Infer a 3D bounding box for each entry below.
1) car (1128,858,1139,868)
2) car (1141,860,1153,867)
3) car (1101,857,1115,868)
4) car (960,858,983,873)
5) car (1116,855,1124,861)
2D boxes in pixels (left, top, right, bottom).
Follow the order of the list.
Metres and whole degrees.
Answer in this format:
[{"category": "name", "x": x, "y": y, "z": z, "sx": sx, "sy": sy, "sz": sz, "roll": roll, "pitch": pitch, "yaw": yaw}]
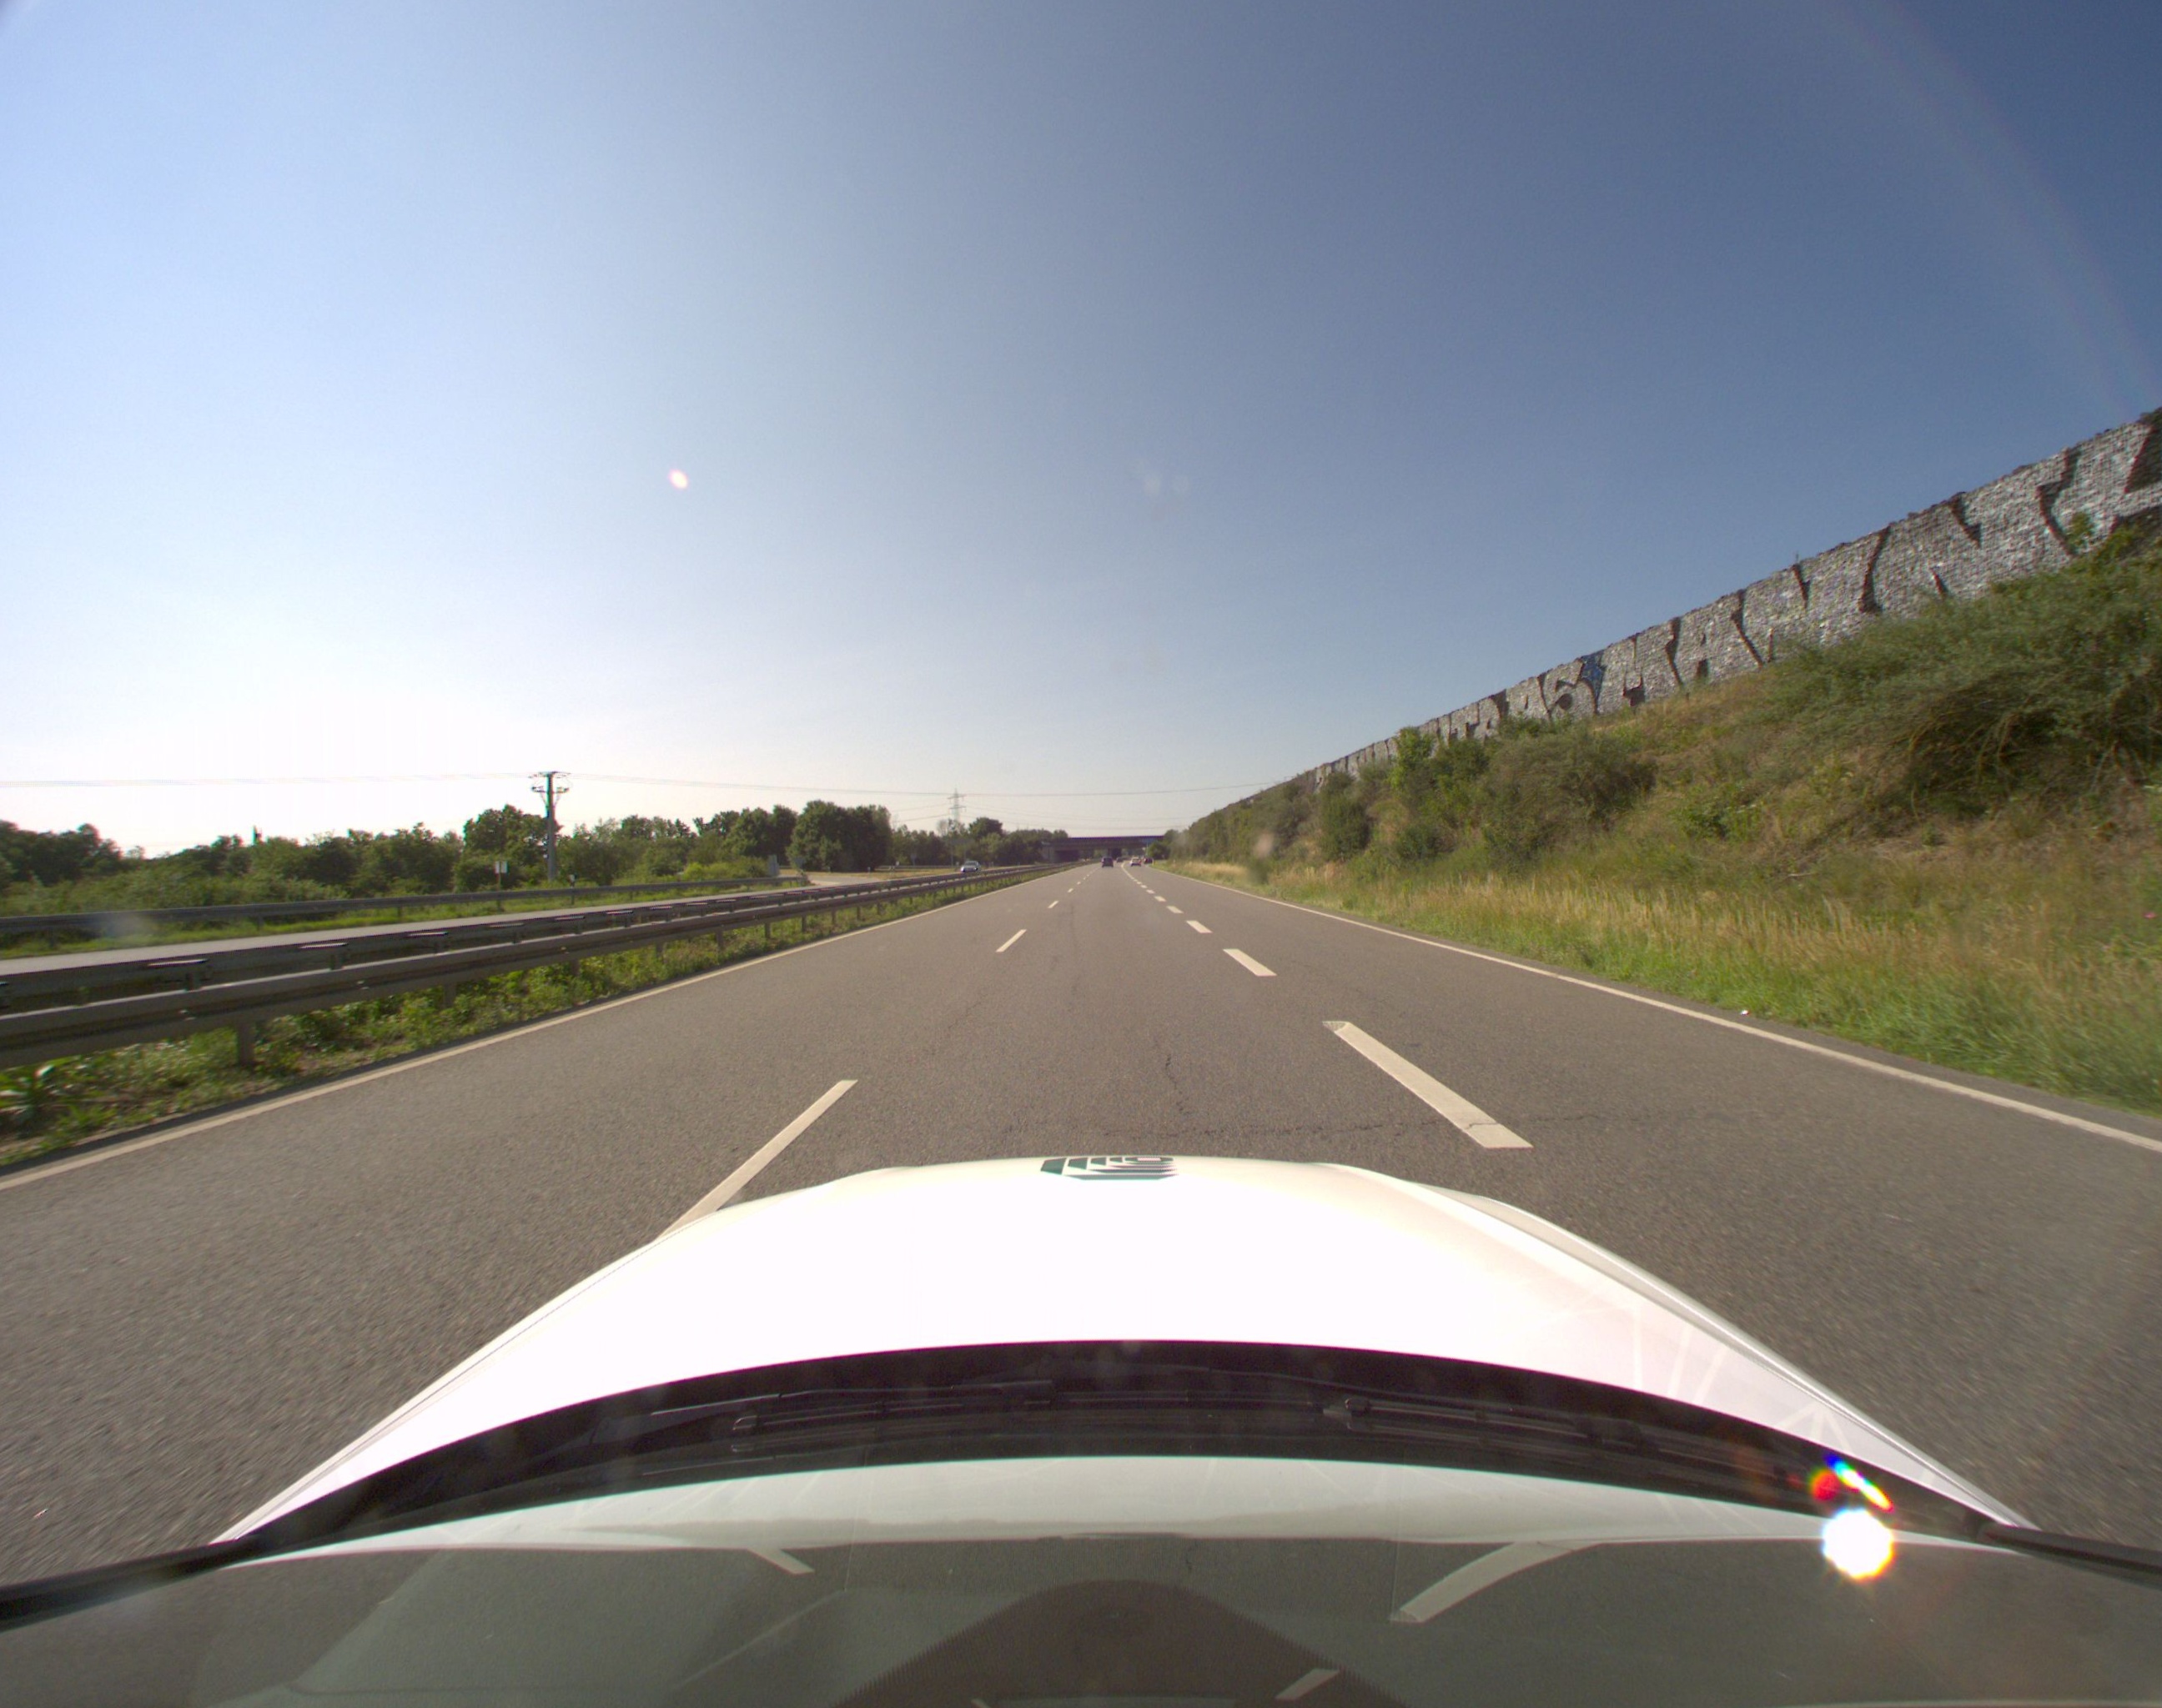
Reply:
[{"category": "car", "x": 8.849, "y": 1.538, "z": 137.475, "sx": 1.788, "sy": 1.665, "sz": 4.005, "roll": 1, "pitch": 0, "yaw": 5}, {"category": "car", "x": 13.866, "y": 1.978, "z": 169.857, "sx": 1.888, "sy": 1.298, "sz": 4.015, "roll": 1, "pitch": 0, "yaw": 13}, {"category": "car", "x": 4.237, "y": 1.266, "z": 127.346, "sx": 1.841, "sy": 1.644, "sz": 4.005, "roll": -1, "pitch": 0, "yaw": 4}, {"category": "car", "x": -12.139, "y": 1.260, "z": 90.494, "sx": 1.694, "sy": 1.485, "sz": 4.621, "roll": 1, "pitch": 0, "yaw": 1}, {"category": "car", "x": 10.512, "y": 1.100, "z": 218.117, "sx": 1.841, "sy": 1.644, "sz": 4.005, "roll": -1, "pitch": 0, "yaw": 4}]
